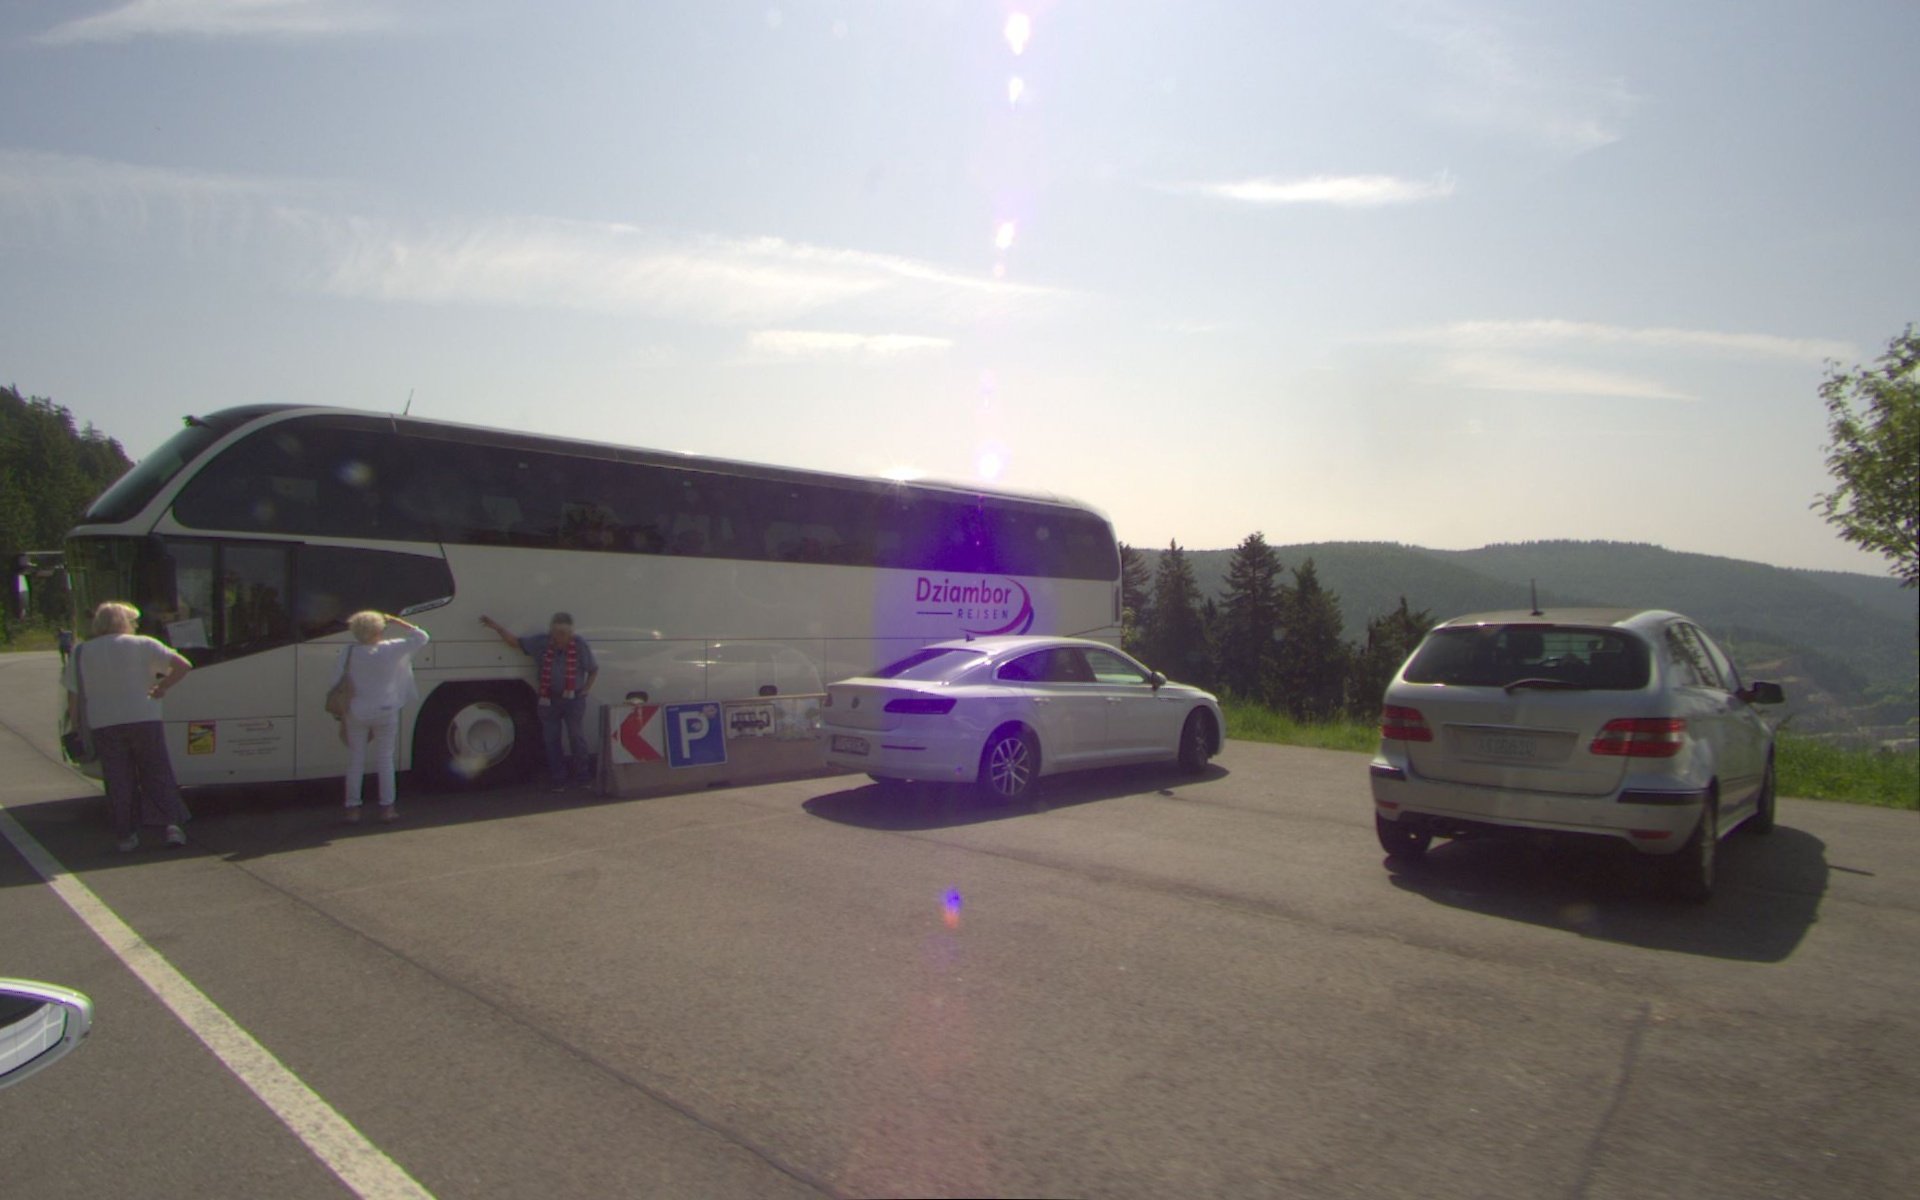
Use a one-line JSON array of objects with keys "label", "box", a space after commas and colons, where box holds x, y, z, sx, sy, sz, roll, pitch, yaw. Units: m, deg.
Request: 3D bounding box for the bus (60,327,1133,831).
[{"label": "bus", "box": [-2.778, -0.053, 12.662, 12.762, 3.624, 2.811, 1, -1, -44]}]

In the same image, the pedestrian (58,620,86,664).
[{"label": "pedestrian", "box": [-37.121, 1.746, 41.870, 0.745, 1.783, 0.771, 0, 0, -31]}]

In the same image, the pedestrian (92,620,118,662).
[{"label": "pedestrian", "box": [-36.217, 1.711, 42.426, 0.657, 1.764, 0.889, 0, 0, -30]}]

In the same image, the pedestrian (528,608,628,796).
[{"label": "pedestrian", "box": [-3.569, 0.905, 9.351, 0.639, 1.665, 0.737, -1, 1, -43]}]

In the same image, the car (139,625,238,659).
[{"label": "car", "box": [-44.098, 2.374, 57.312, 1.871, 1.817, 4.241, 1, -1, 43]}]

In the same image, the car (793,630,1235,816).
[{"label": "car", "box": [0.706, 1.022, 9.779, 4.392, 1.414, 1.703, 2, -2, -41]}]

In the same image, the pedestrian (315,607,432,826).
[{"label": "pedestrian", "box": [-4.579, 0.866, 7.866, 0.635, 1.617, 0.743, 0, 1, -19]}]

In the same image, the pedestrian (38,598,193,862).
[{"label": "pedestrian", "box": [-5.701, 0.818, 6.807, 0.700, 1.665, 0.740, -1, 1, -34]}]

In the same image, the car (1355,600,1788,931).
[{"label": "car", "box": [4.382, 0.870, 6.889, 1.748, 1.594, 3.965, -1, -2, 44]}]
